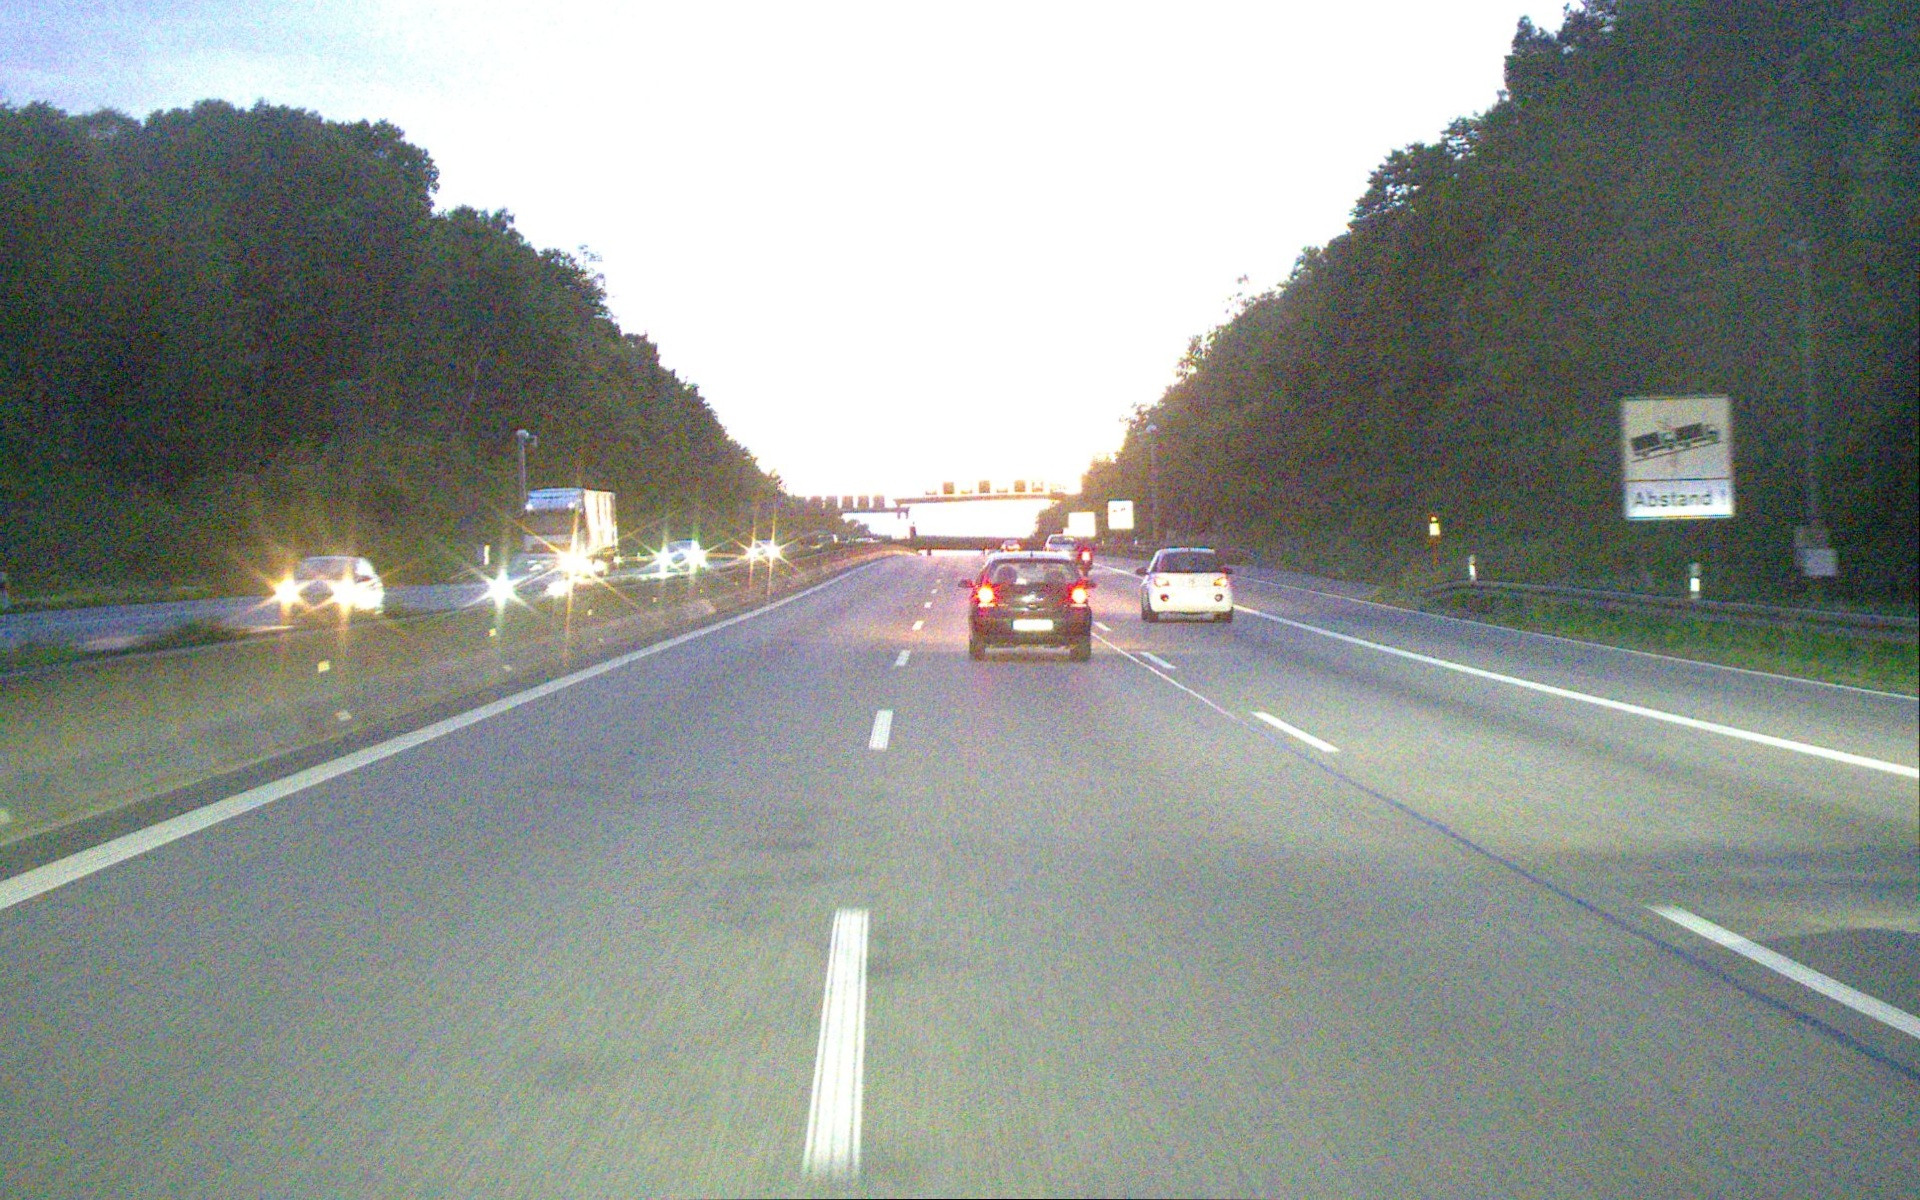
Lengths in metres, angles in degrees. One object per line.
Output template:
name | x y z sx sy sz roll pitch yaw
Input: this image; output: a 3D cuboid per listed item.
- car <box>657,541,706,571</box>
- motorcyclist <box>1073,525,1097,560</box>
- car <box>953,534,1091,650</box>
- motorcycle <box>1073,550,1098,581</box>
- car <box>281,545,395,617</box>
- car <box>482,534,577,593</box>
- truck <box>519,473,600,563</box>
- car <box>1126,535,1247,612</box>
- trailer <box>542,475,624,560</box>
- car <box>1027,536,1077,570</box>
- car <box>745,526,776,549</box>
car | -13.759 -2.197 169.946 1.910 1.446 5.354 0 1 1
motorcyclist | 4.643 -2.119 127.640 0.829 1.287 1.190 -1 0 0
car | 0.818 -0.102 47.500 1.704 1.504 4.232 1 0 -1
motorcycle | 4.644 -1.283 127.712 0.829 1.130 2.476 -1 0 0
car | -13.523 -0.428 74.930 1.686 1.510 4.415 0 1 0
car | -10.405 -0.897 83.334 1.850 1.377 4.645 0 1 -2
truck | -18.069 -3.711 155.466 2.647 3.958 7.122 0 1 2
car | 4.516 -0.519 69.079 1.825 1.471 4.399 1 0 -4
trailer | -17.928 -3.935 164.110 2.647 3.917 10.186 0 1 1
car | 4.240 -2.179 158.974 1.865 1.489 4.399 1 0 -4
car | -13.992 -4.364 241.538 1.880 1.569 4.655 -1 1 0
